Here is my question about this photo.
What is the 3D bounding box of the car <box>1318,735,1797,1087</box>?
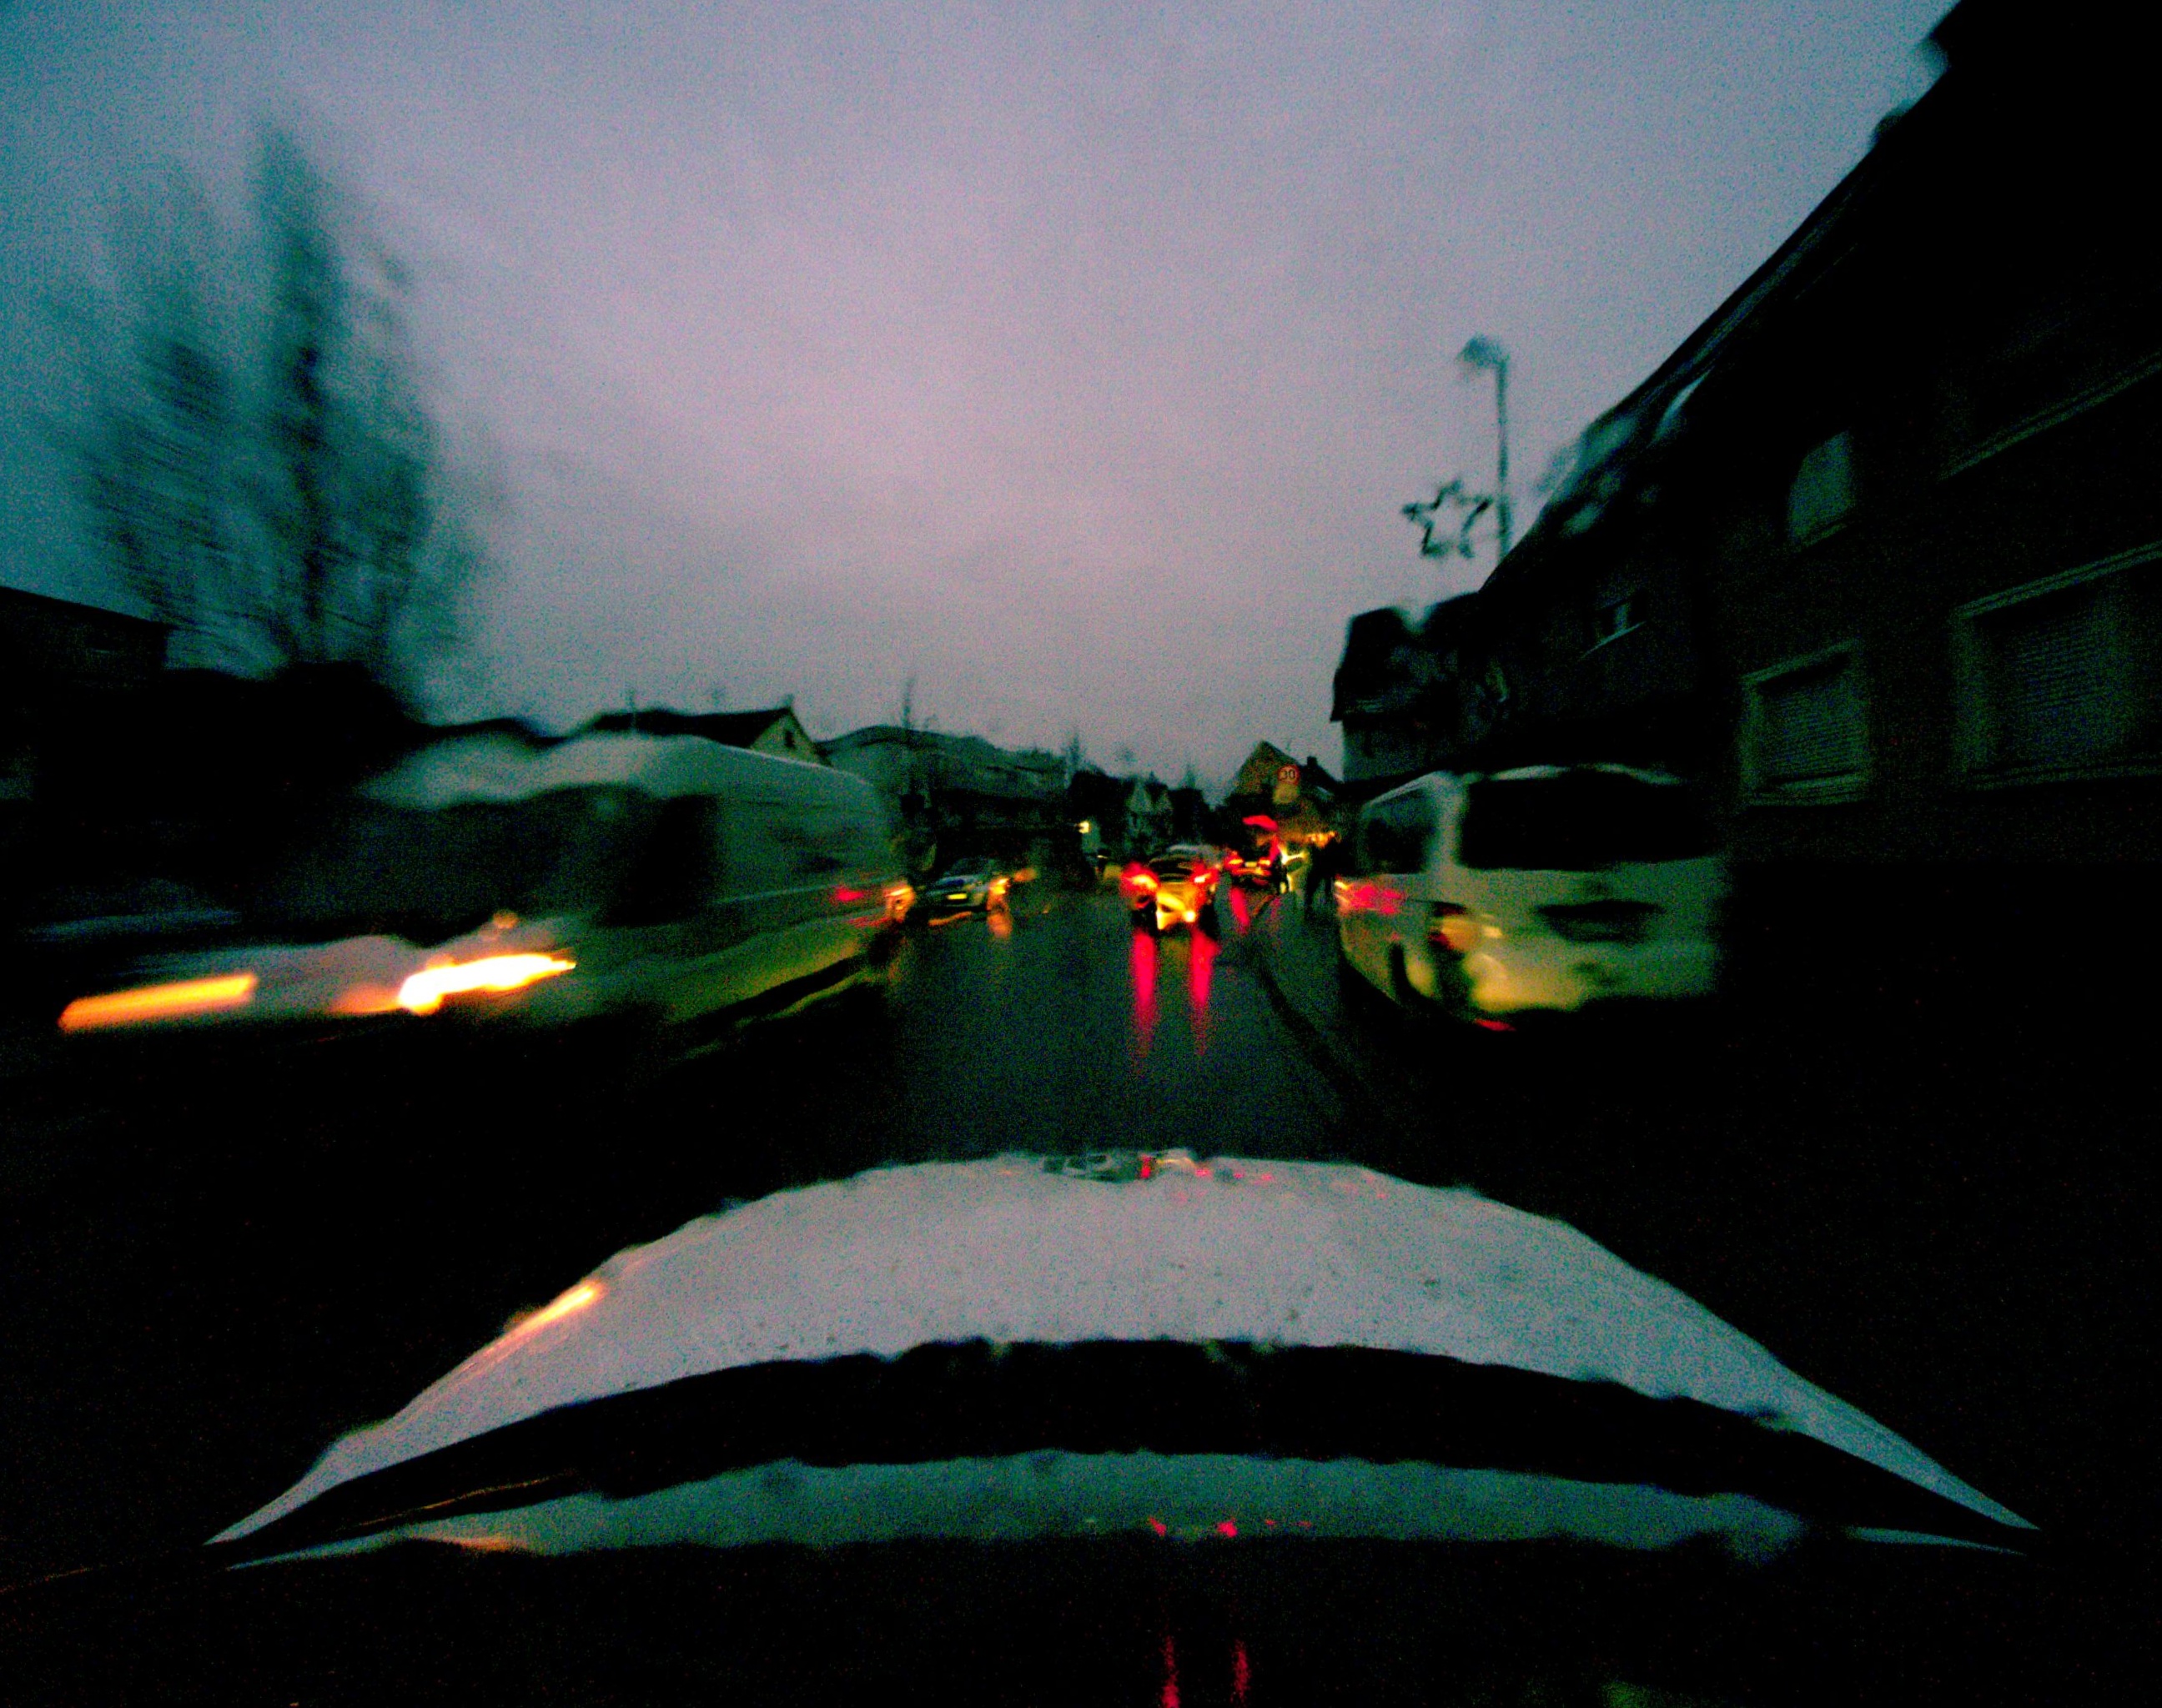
[{"bbox_3d":[3.399,0.333,7.088,1.961,1.960,4.865,-2,0,10],"label":"car"}]

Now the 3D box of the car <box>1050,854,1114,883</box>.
[{"bbox_3d":[0.036,0.885,48.556,1.747,1.477,4.044,-3,-1,-35],"label":"car"}]

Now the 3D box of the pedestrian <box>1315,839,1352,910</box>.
[{"bbox_3d":[6.167,0.496,19.926,0.578,1.669,0.791,-3,-1,-2],"label":"pedestrian"}]

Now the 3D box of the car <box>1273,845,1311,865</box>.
[{"bbox_3d":[16.059,0.054,61.911,1.654,1.516,4.025,0,1,32],"label":"car"}]

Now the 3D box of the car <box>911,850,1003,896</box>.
[{"bbox_3d":[-5.588,0.848,36.745,3.677,1.904,1.770,-3,0,24],"label":"car"}]

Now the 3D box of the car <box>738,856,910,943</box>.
[{"bbox_3d":[-5.187,0.845,17.139,1.895,1.533,4.262,-2,0,5],"label":"car"}]

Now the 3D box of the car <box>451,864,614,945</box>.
[{"bbox_3d":[-13.116,1.164,19.360,4.596,1.654,2.000,-3,-1,40],"label":"car"}]

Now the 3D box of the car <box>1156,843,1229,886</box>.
[{"bbox_3d":[5.241,0.451,37.796,1.928,1.750,4.878,-4,-1,24],"label":"car"}]

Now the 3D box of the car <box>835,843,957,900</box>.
[{"bbox_3d":[-7.173,0.714,31.173,2.086,1.885,5.331,-3,-1,-43],"label":"car"}]

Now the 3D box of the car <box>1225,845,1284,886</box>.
[{"bbox_3d":[7.438,0.462,34.655,1.782,1.662,4.021,-1,0,21],"label":"car"}]

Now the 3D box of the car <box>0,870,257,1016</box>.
[{"bbox_3d":[-12.153,1.004,10.312,4.021,1.459,1.769,-3,-1,35],"label":"car"}]

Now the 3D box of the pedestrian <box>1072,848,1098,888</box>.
[{"bbox_3d":[0.198,0.641,38.926,0.746,1.866,1.067,-2,-1,32],"label":"pedestrian"}]

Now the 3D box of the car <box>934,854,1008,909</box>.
[{"bbox_3d":[-3.308,0.787,25.100,1.828,1.535,3.673,-1,0,-2],"label":"car"}]

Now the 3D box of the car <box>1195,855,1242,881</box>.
[{"bbox_3d":[8.529,0.842,50.314,1.676,1.516,3.796,-1,0,29],"label":"car"}]

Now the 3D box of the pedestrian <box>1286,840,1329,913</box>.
[{"bbox_3d":[5.507,0.539,19.824,0.711,1.699,0.803,-3,-1,-3],"label":"pedestrian"}]

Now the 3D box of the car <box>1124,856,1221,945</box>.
[{"bbox_3d":[2.355,1.008,19.825,1.981,1.795,4.661,-2,0,10],"label":"car"}]

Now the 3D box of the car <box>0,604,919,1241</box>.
[{"bbox_3d":[-3.278,0.290,6.335,2.184,2.490,6.152,-2,0,5],"label":"car"}]

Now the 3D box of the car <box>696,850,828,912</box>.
[{"bbox_3d":[-9.053,0.731,22.982,3.950,1.530,2.012,-2,0,44],"label":"car"}]
